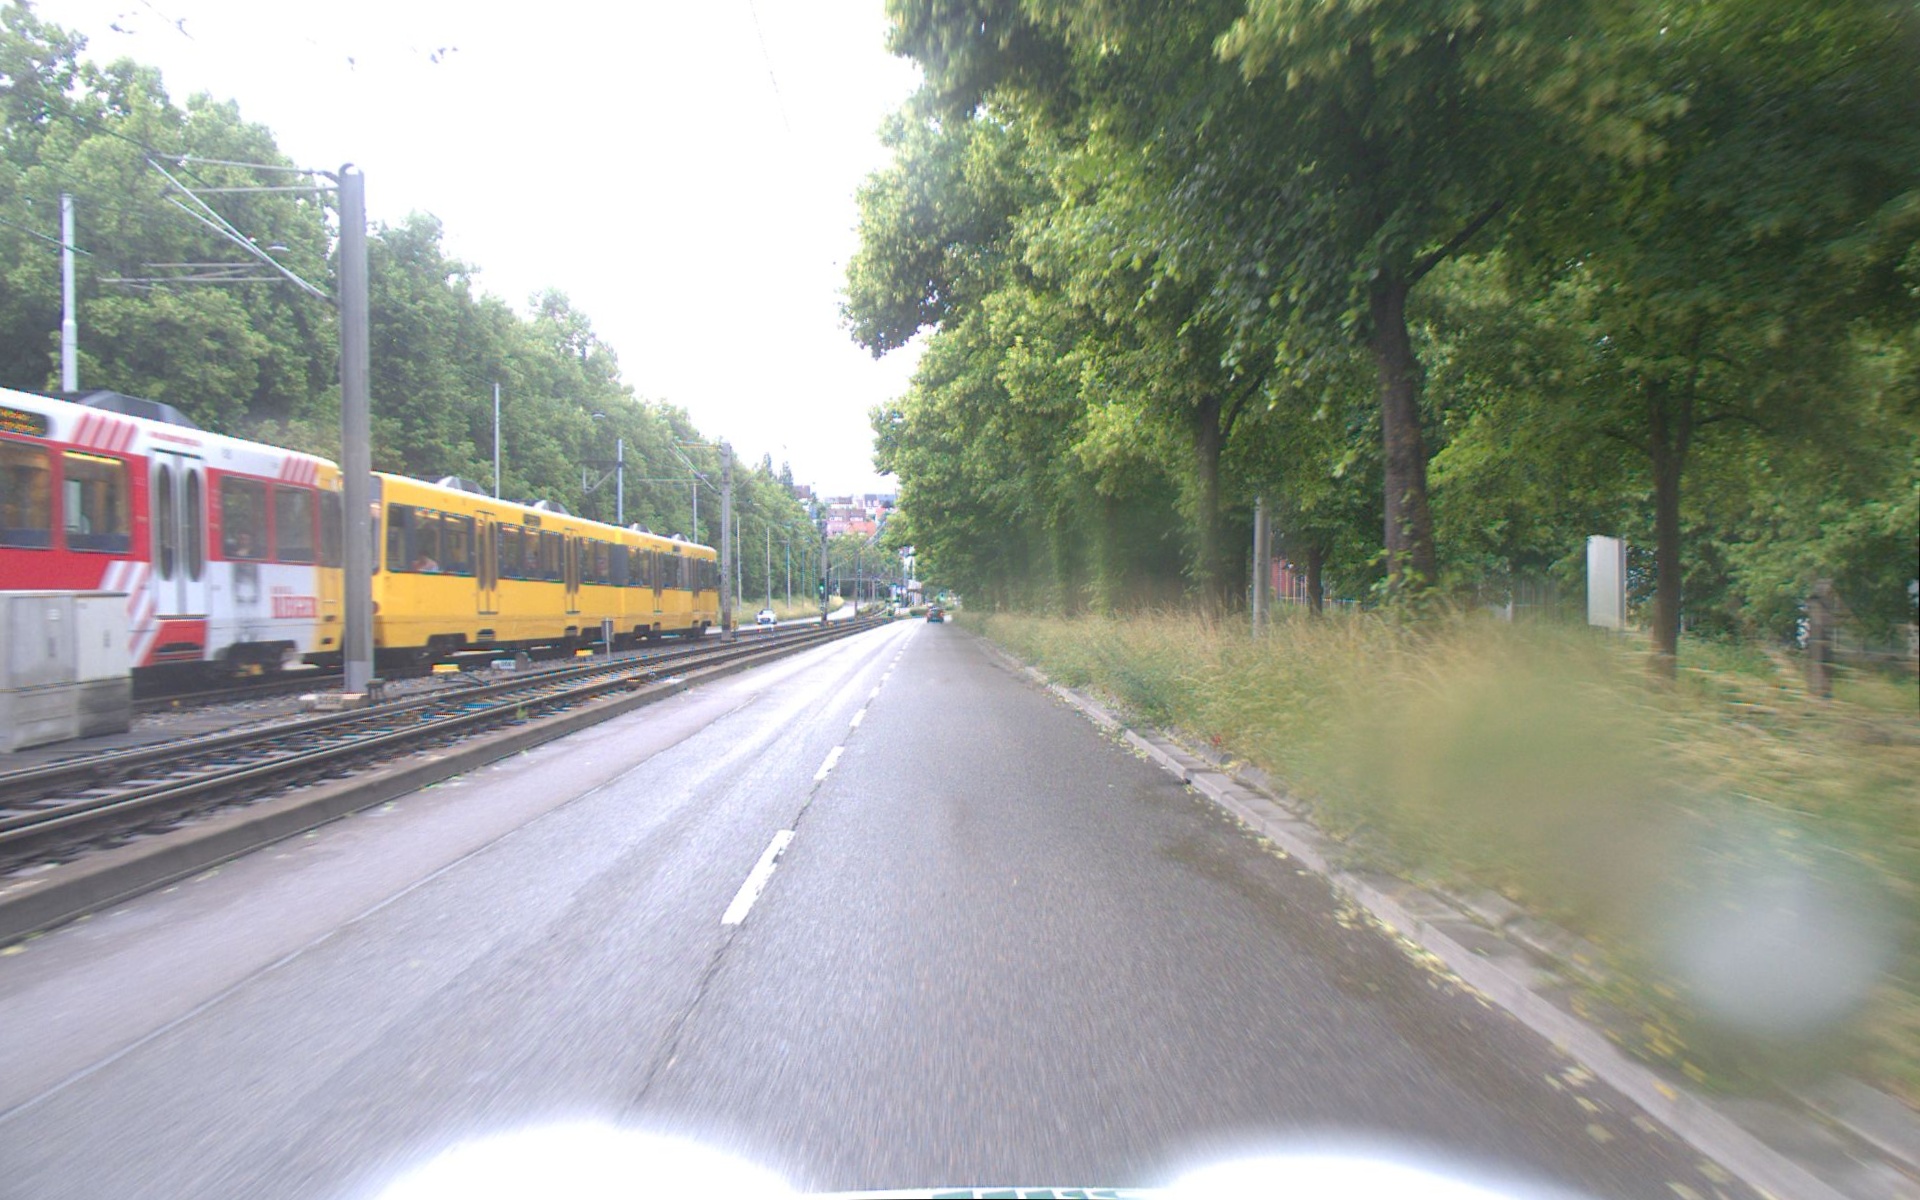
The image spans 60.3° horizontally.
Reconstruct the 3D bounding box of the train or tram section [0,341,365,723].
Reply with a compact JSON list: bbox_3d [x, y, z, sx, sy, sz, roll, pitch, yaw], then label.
[{"bbox_3d":[-11.194,-0.699,17.465,2.906,3.877,18.615,0,0,1],"label":"train or tram section"}]

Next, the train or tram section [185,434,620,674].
[{"bbox_3d":[-11.014,-0.803,36.377,2.906,3.877,19.099,0,0,1],"label":"train or tram section"}]

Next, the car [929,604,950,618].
[{"bbox_3d":[-2.182,1.148,172.158,2.149,1.352,3.999,1,1,-1],"label":"car"}]

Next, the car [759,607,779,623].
[{"bbox_3d":[-18.492,1.419,160.214,1.446,1.461,3.908,-2,0,-1],"label":"car"}]

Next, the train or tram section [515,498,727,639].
[{"bbox_3d":[-10.796,-0.934,55.685,2.906,3.877,19.521,0,0,1],"label":"train or tram section"}]
